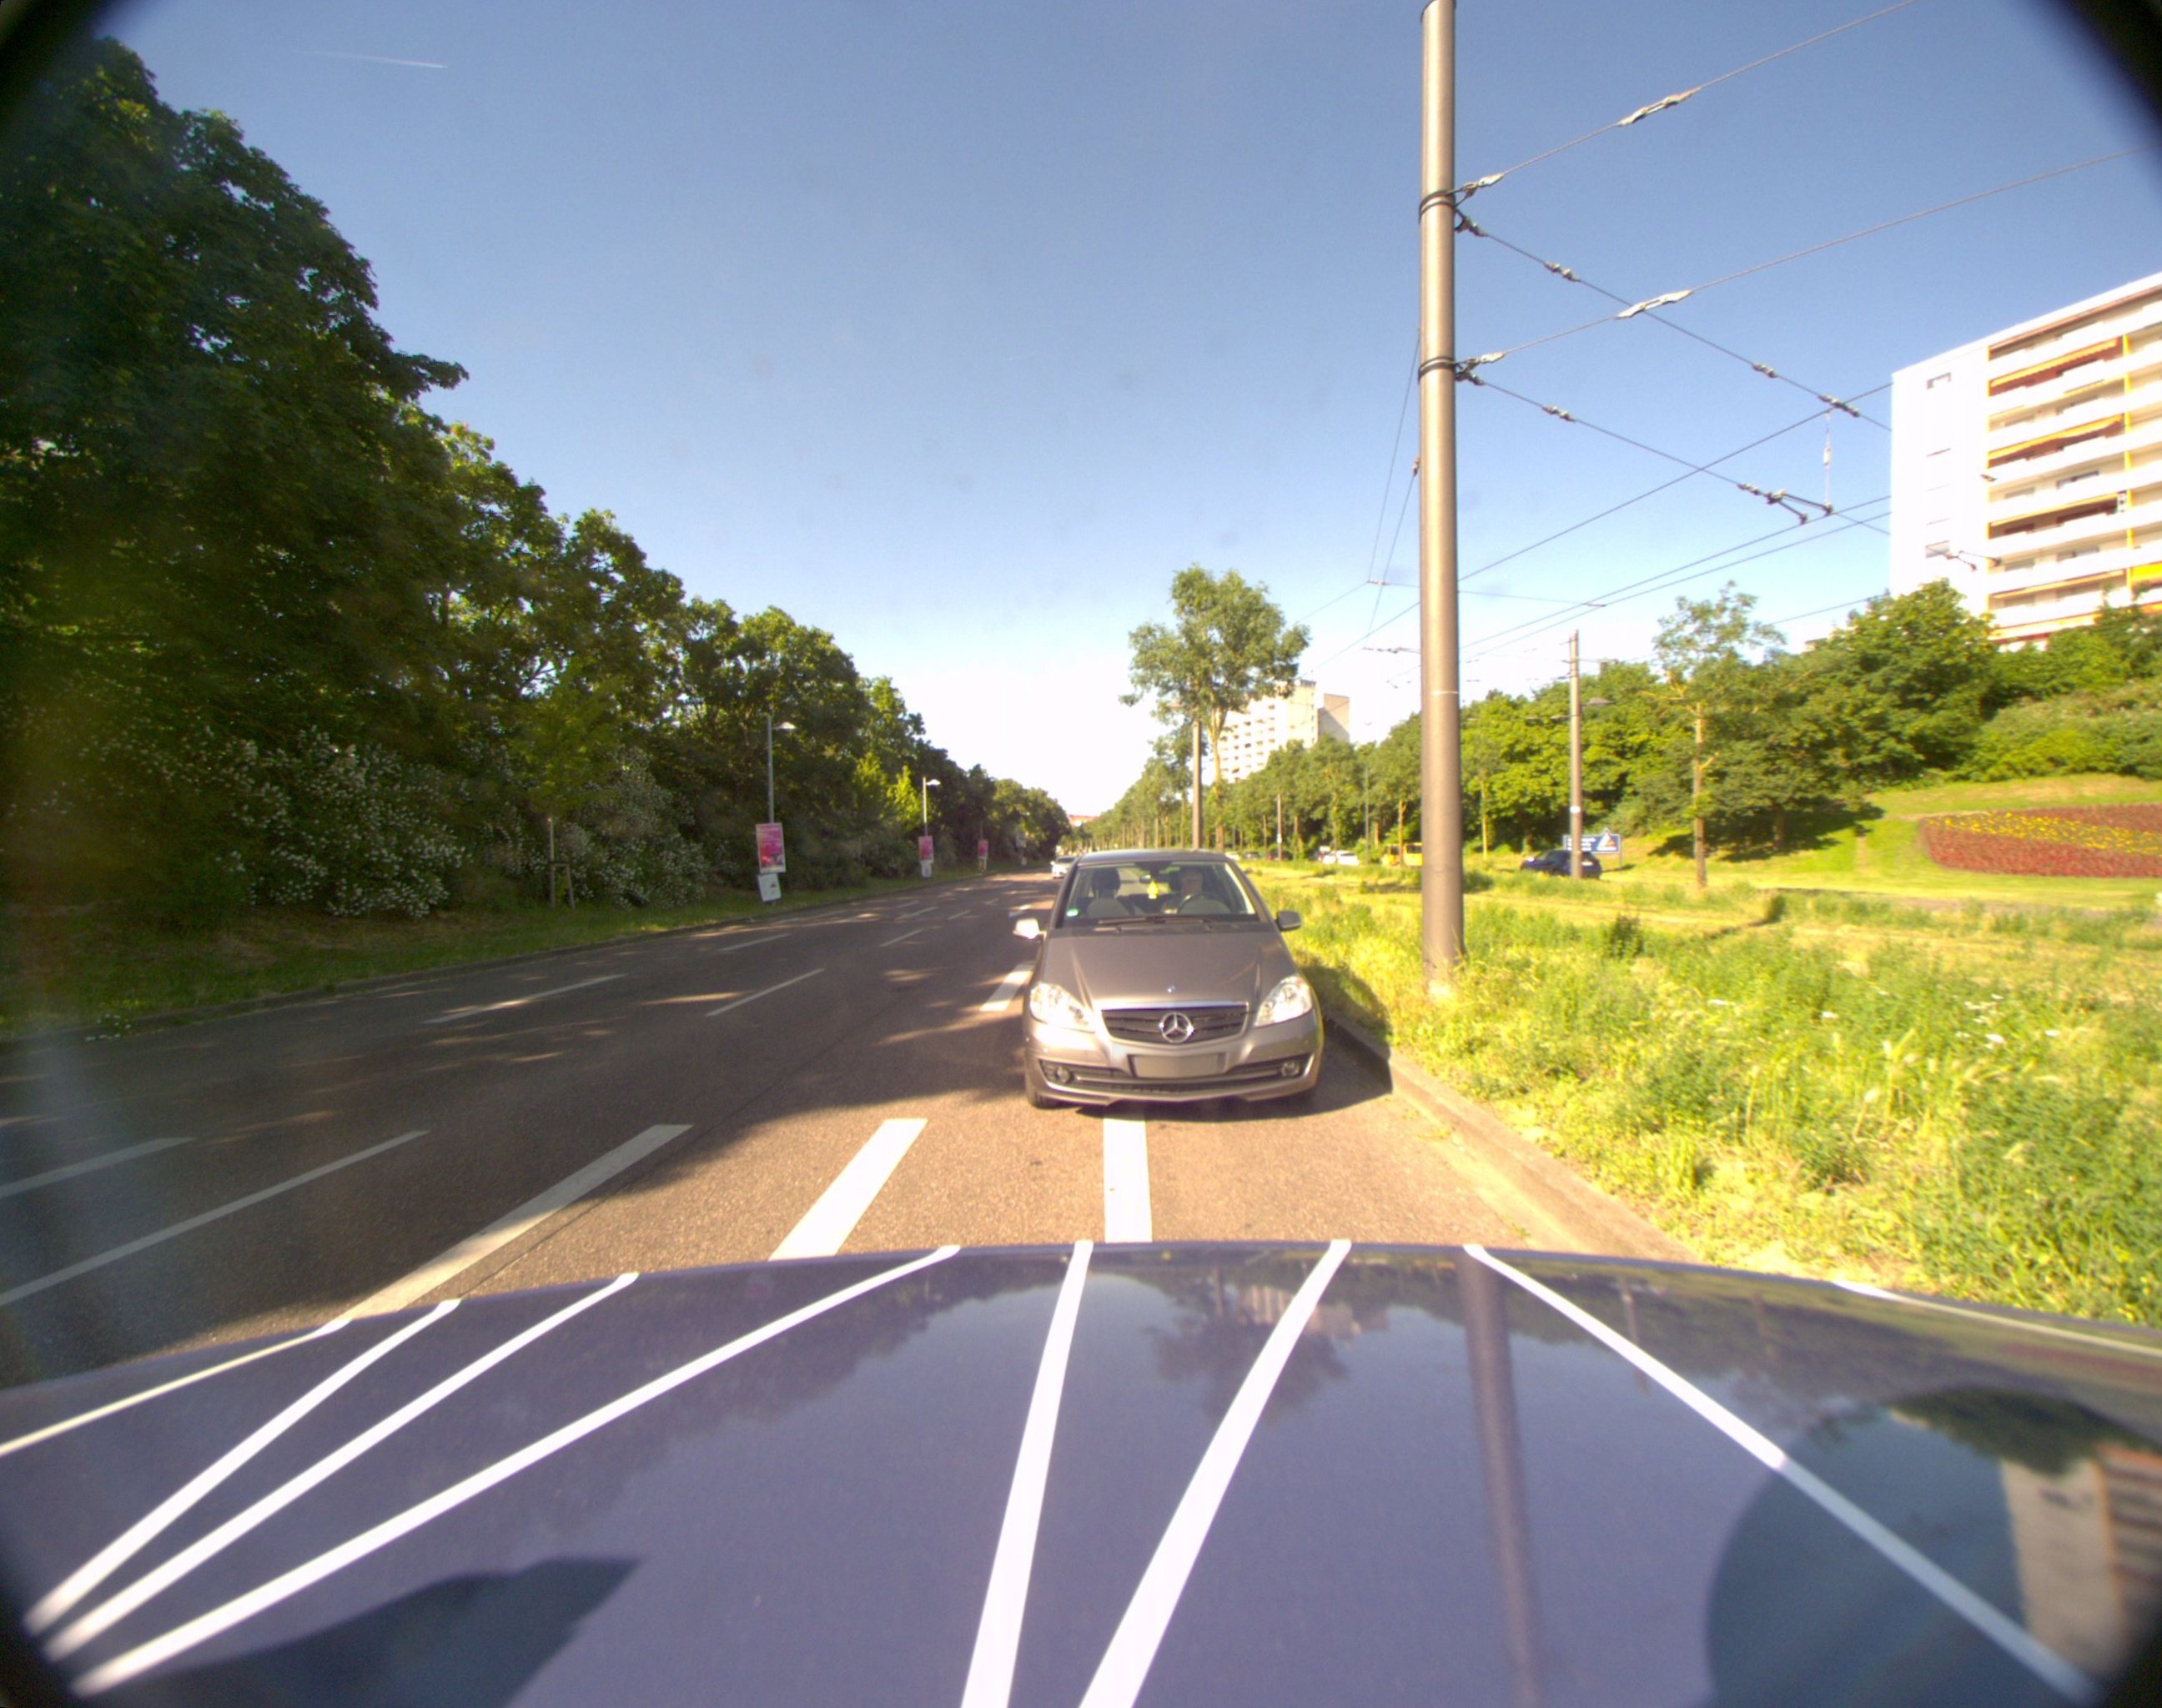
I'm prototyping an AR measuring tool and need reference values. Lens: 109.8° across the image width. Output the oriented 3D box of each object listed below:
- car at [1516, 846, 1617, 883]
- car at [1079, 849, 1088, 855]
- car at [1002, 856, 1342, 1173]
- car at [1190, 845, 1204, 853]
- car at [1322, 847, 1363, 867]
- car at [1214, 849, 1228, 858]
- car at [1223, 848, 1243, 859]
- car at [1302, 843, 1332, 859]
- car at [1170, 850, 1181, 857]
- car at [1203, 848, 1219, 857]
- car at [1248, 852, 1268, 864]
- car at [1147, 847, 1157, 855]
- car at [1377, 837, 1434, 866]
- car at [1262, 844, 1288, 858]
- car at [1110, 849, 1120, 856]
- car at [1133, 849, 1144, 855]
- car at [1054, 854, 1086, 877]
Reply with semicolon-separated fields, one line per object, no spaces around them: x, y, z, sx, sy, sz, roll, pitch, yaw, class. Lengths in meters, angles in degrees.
22.102;0.458;34.790;1.998;1.565;4.107;-2;0;1;car
0.733;-0.619;262.868;1.944;2.002;3.994;-1;0;-17;car
0.506;0.853;5.923;1.759;1.612;3.880;-1;0;1;car
20.990;-0.862;137.652;1.998;1.477;4.000;-1;0;1;car
19.512;0.219;56.808;1.693;1.398;4.022;-2;0;1;car
21.913;-0.037;119.184;1.740;1.368;4.001;-1;0;4;car
19.559;-0.064;98.023;1.867;1.410;4.000;-1;0;3;car
22.542;-0.289;72.682;1.792;1.499;4.242;-1;0;5;car
19.577;-0.073;157.403;1.802;1.455;4.000;-1;0;1;car
19.414;-0.214;113.581;1.825;1.353;4.230;-1;0;3;car
22.565;0.467;97.019;1.867;1.410;4.000;0;0;3;car
15.785;-0.749;168.733;1.882;1.755;4.000;-1;0;1;car
22.864;-0.199;53.809;1.998;1.955;4.907;-1;0;1;car
19.822;-0.293;77.810;1.799;1.408;4.311;-2;0;4;car
10.082;-0.508;223.991;2.000;2.002;3.996;-1;0;-11;car
15.345;-0.581;202.379;1.911;1.652;3.996;-1;0;-11;car
-0.682;0.729;50.621;1.875;1.428;4.594;-1;0;2;car
